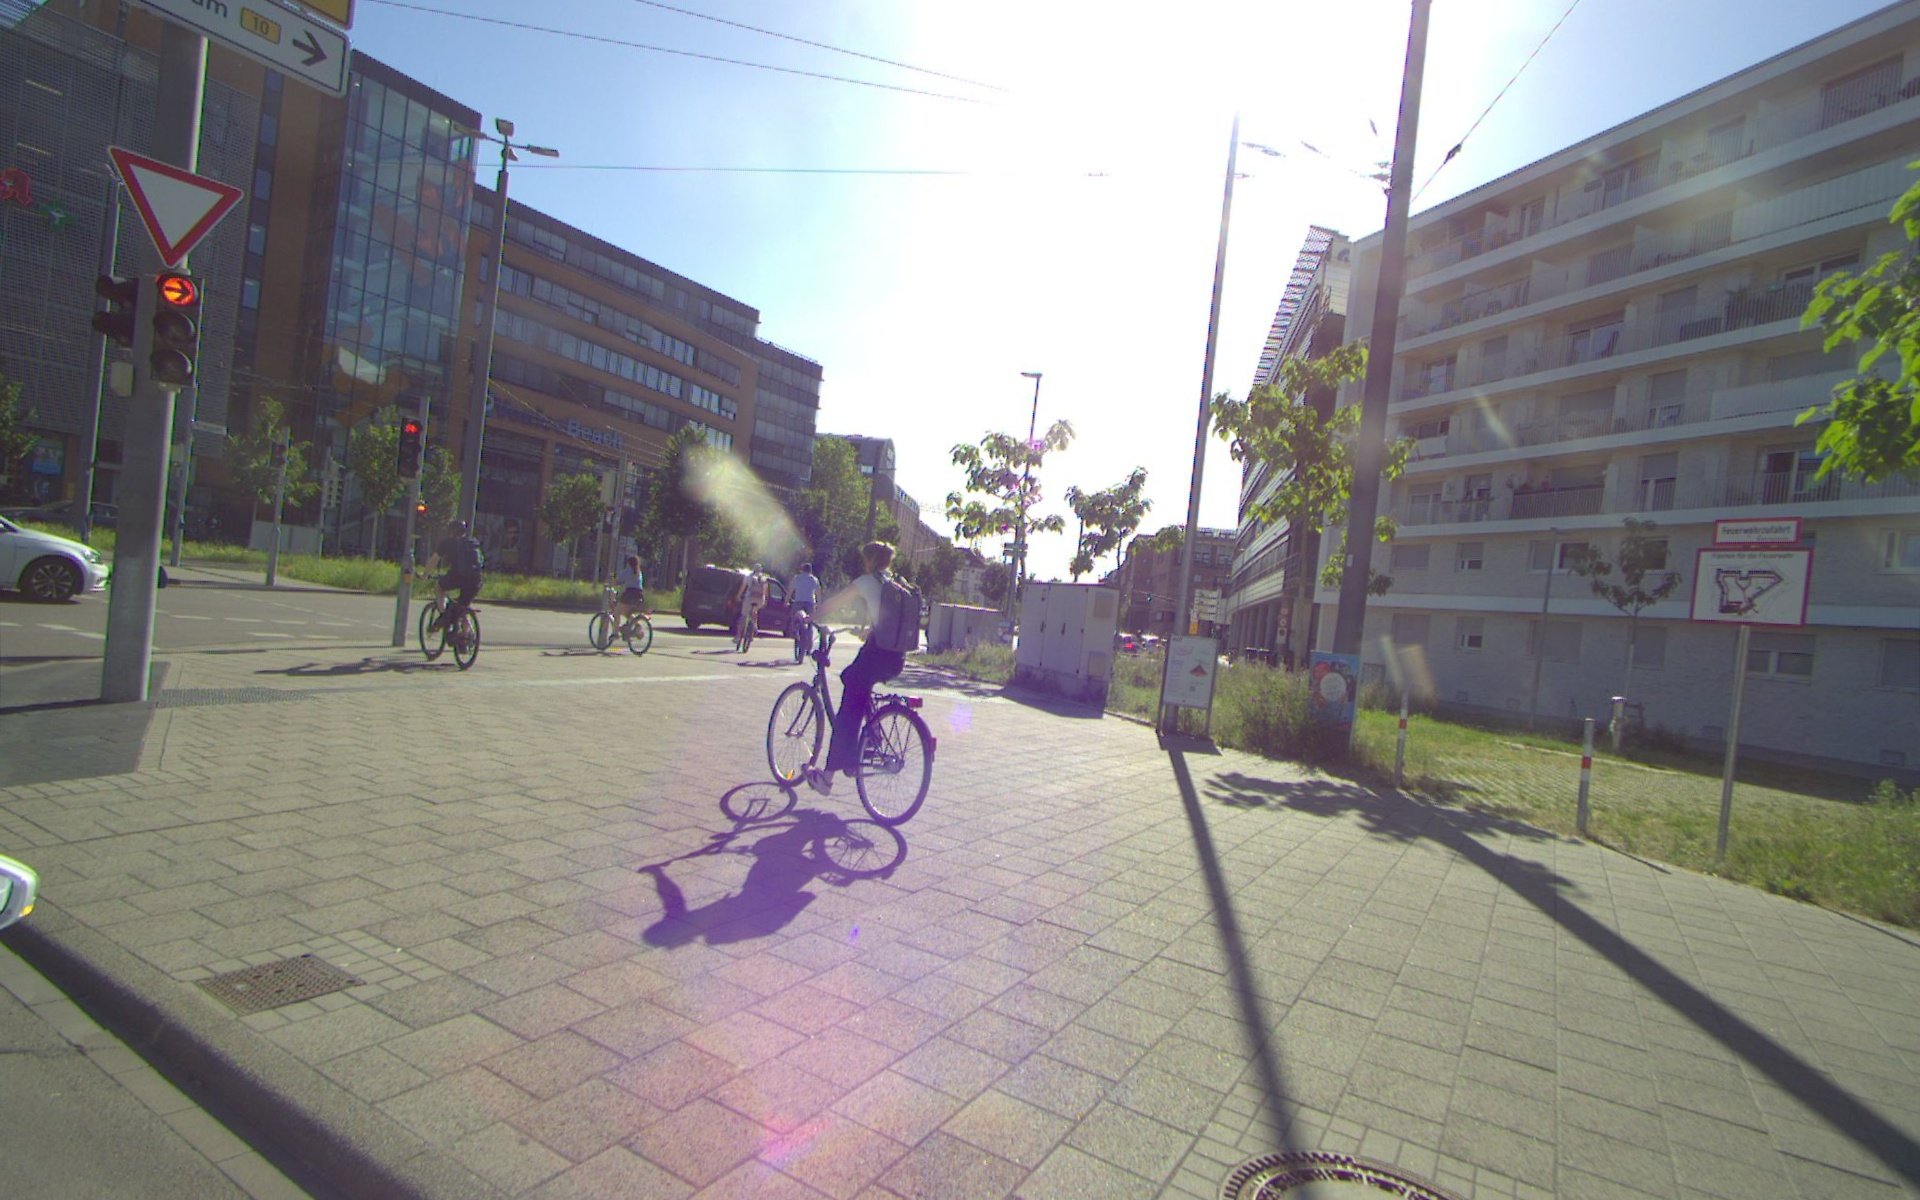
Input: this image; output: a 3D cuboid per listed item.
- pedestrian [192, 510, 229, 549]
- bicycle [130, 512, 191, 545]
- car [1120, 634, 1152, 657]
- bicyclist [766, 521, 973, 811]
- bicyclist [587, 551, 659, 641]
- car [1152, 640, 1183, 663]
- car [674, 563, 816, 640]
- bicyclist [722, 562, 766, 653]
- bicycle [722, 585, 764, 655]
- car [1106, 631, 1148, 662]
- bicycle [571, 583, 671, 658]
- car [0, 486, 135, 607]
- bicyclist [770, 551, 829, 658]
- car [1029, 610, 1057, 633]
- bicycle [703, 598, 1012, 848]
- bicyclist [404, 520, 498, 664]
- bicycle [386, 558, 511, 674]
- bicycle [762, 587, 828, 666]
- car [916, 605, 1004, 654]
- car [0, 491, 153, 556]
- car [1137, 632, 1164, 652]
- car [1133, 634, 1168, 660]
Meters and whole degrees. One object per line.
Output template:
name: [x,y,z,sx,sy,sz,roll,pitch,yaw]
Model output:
pedestrian: [-38.787,-3.659,52.078,1.017,1.852,1.014,6,2,-4]
bicycle: [-40.520,-3.611,51.033,0.595,1.310,2.260,7,-2,30]
car: [13.908,3.627,79.482,1.677,1.515,4.281,7,-2,19]
bicyclist: [-0.577,0.385,6.337,0.958,1.649,0.665,7,0,43]
bicyclist: [-5.794,-0.068,17.272,0.927,1.453,0.666,4,-1,38]
car: [16.452,4.116,79.556,1.677,1.515,4.281,7,-2,19]
car: [-6.252,0.116,29.806,1.678,1.813,4.472,7,-1,24]
bicyclist: [-4.506,0.185,20.966,0.705,1.743,1.094,6,-5,-13]
bicycle: [-4.519,0.451,20.943,0.705,1.342,1.747,5,-4,-13]
car: [10.335,2.884,61.868,1.675,1.591,4.874,7,-1,18]
bicycle: [-5.839,0.339,17.299,1.793,1.085,0.666,6,0,38]
car: [-13.594,-0.877,12.834,1.831,1.490,4.295,7,-1,24]
bicyclist: [-2.980,0.089,18.769,0.795,1.888,0.750,6,0,1]
car: [7.106,1.835,85.915,1.615,1.665,3.704,7,-1,15]
bicycle: [-0.739,0.702,6.465,2.127,1.212,0.665,6,0,45]
bicyclist: [-6.273,-0.104,12.378,0.627,1.649,0.959,6,0,-44]
bicycle: [-6.354,0.167,12.426,2.126,1.212,0.634,6,0,44]
bicycle: [-3.032,0.491,18.697,0.745,1.316,2.155,6,-1,0]
car: [0.056,1.258,41.599,1.679,1.531,4.275,7,-2,28]
car: [-32.122,-2.740,36.341,1.810,1.484,4.161,6,-5,30]
car: [17.702,3.939,93.265,1.677,1.515,4.281,7,-2,19]
car: [13.624,3.404,71.812,1.677,1.515,4.281,7,-2,19]
